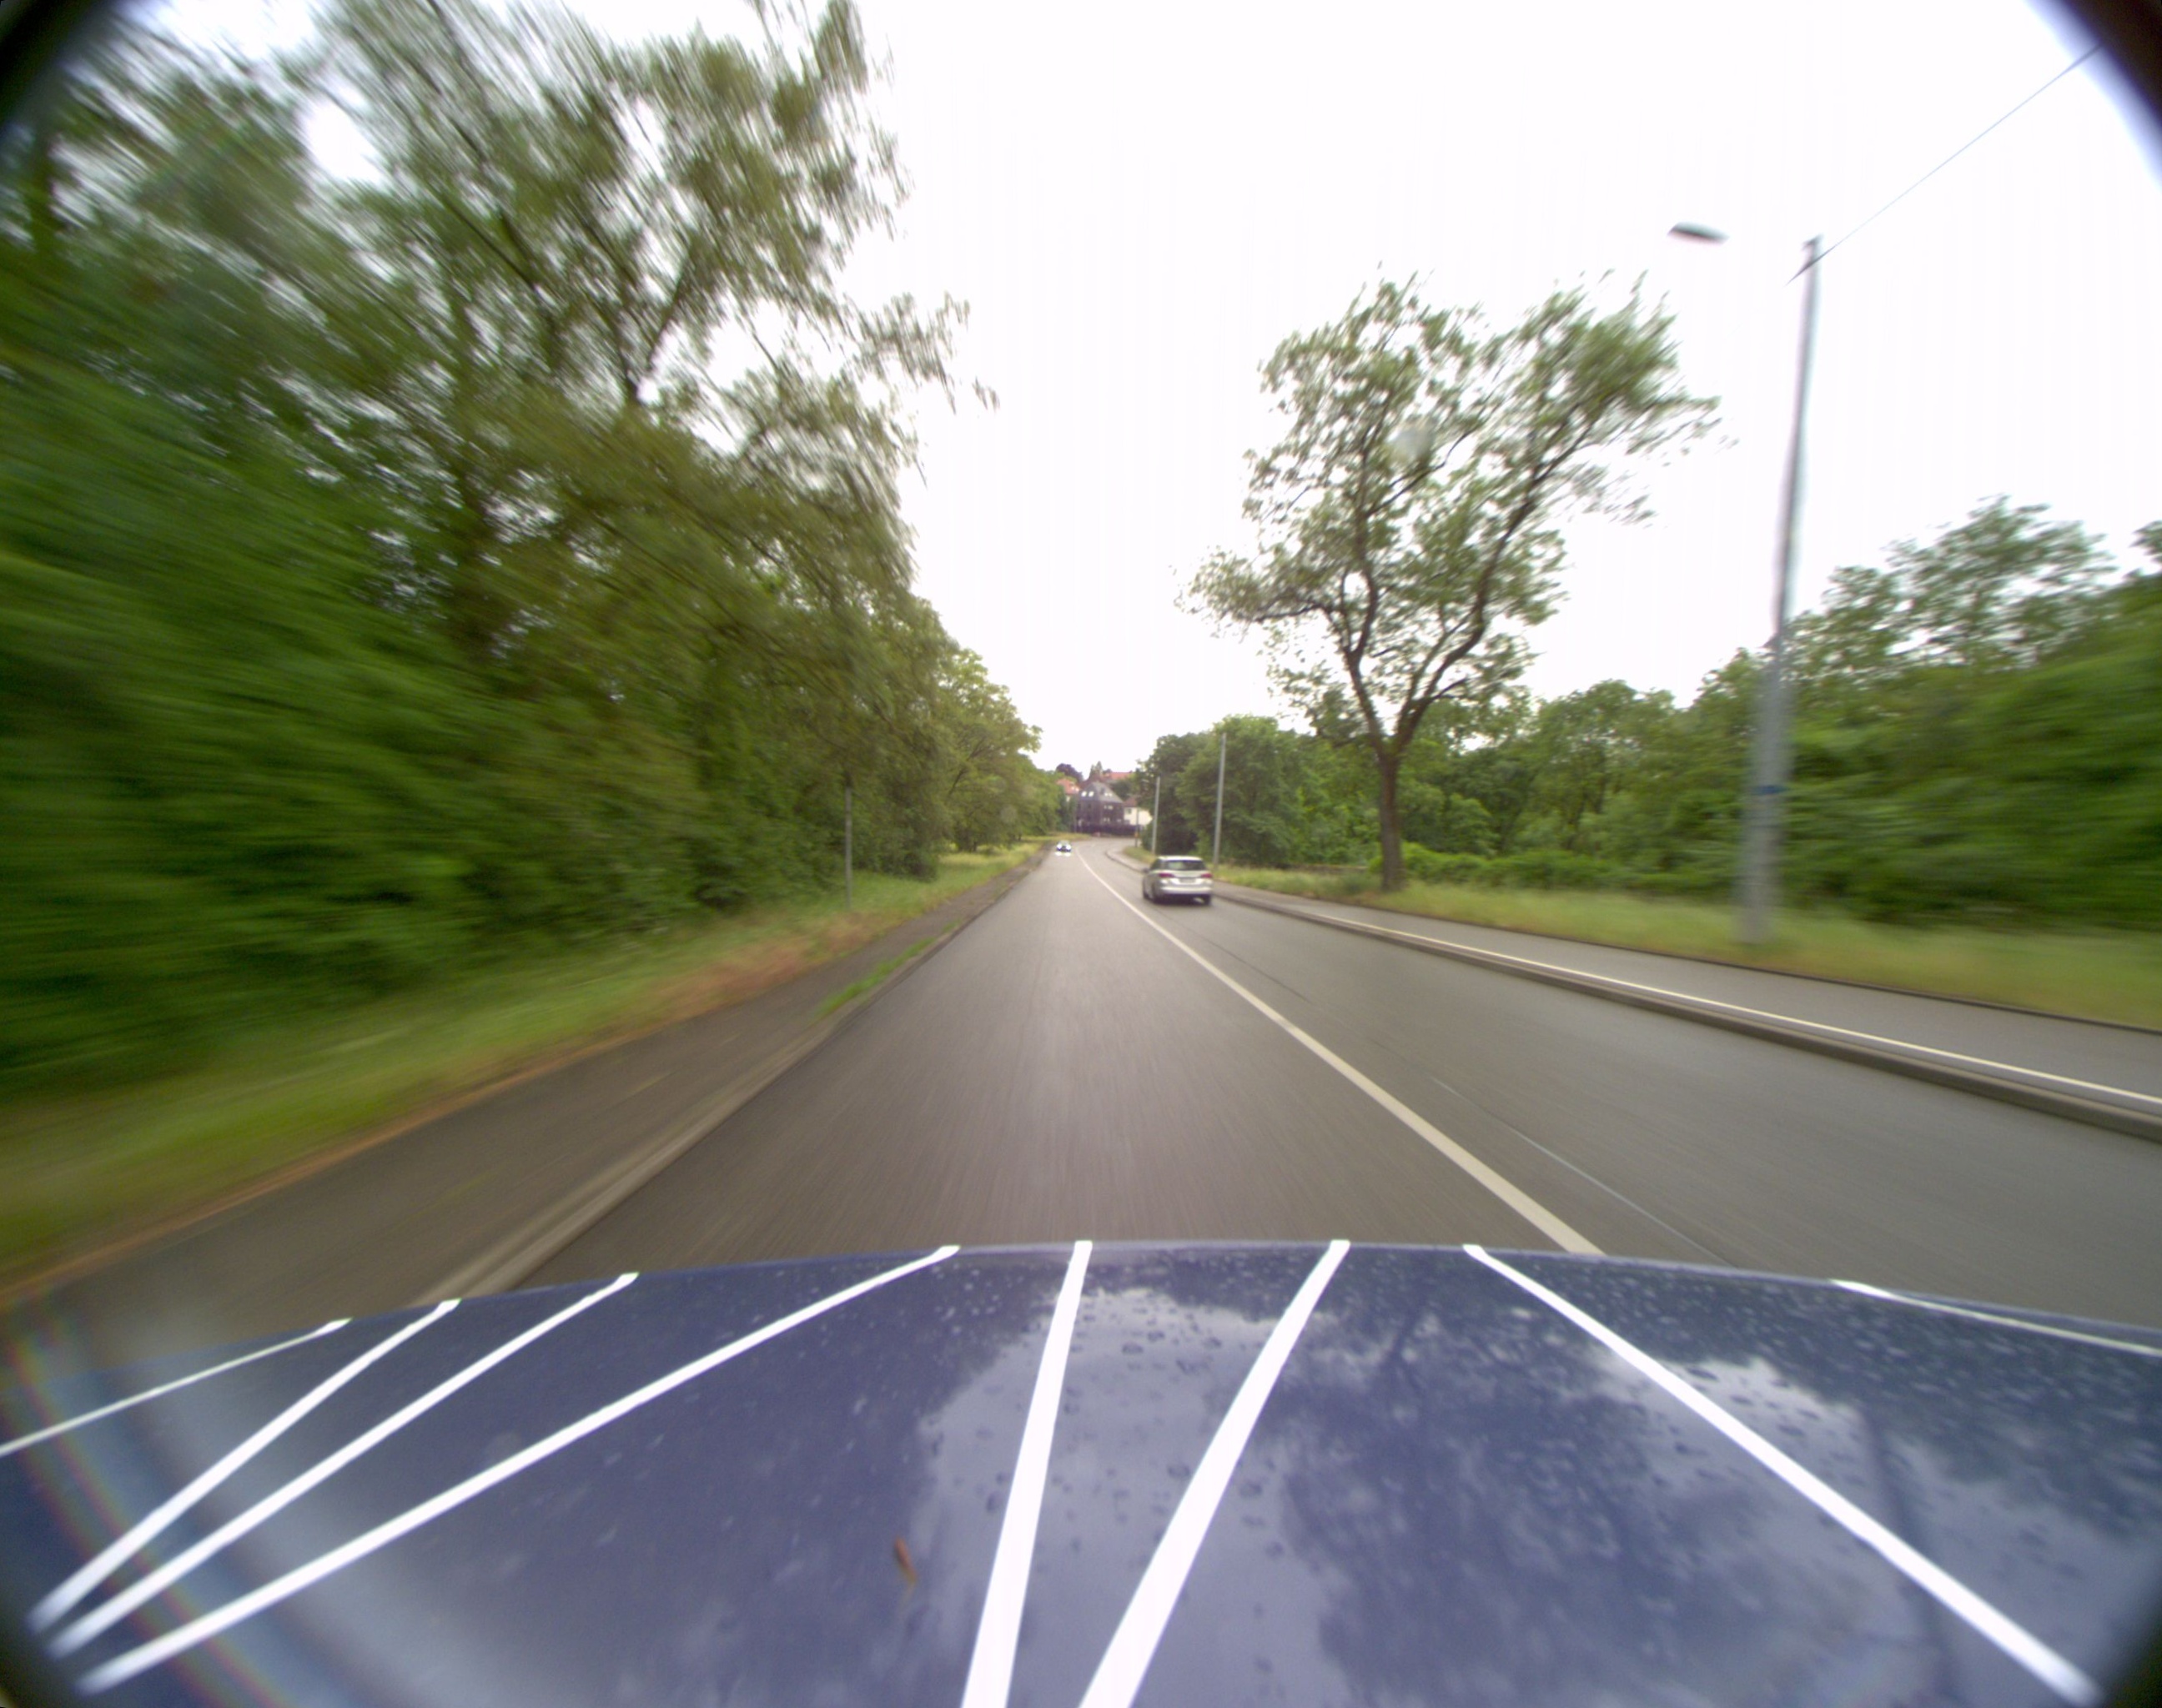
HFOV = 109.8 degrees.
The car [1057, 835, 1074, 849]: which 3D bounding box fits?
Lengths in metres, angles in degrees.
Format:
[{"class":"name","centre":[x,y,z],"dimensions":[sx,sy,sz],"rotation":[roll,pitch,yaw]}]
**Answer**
[{"class":"car","centre":[-1.979,-1.644,99.973],"dimensions":[1.998,1.707,3.999],"rotation":[1,2,2]}]

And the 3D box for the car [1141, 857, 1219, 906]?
[{"class":"car","centre":[3.039,0.798,24.208],"dimensions":[1.785,1.422,4.474],"rotation":[0,0,-2]}]
